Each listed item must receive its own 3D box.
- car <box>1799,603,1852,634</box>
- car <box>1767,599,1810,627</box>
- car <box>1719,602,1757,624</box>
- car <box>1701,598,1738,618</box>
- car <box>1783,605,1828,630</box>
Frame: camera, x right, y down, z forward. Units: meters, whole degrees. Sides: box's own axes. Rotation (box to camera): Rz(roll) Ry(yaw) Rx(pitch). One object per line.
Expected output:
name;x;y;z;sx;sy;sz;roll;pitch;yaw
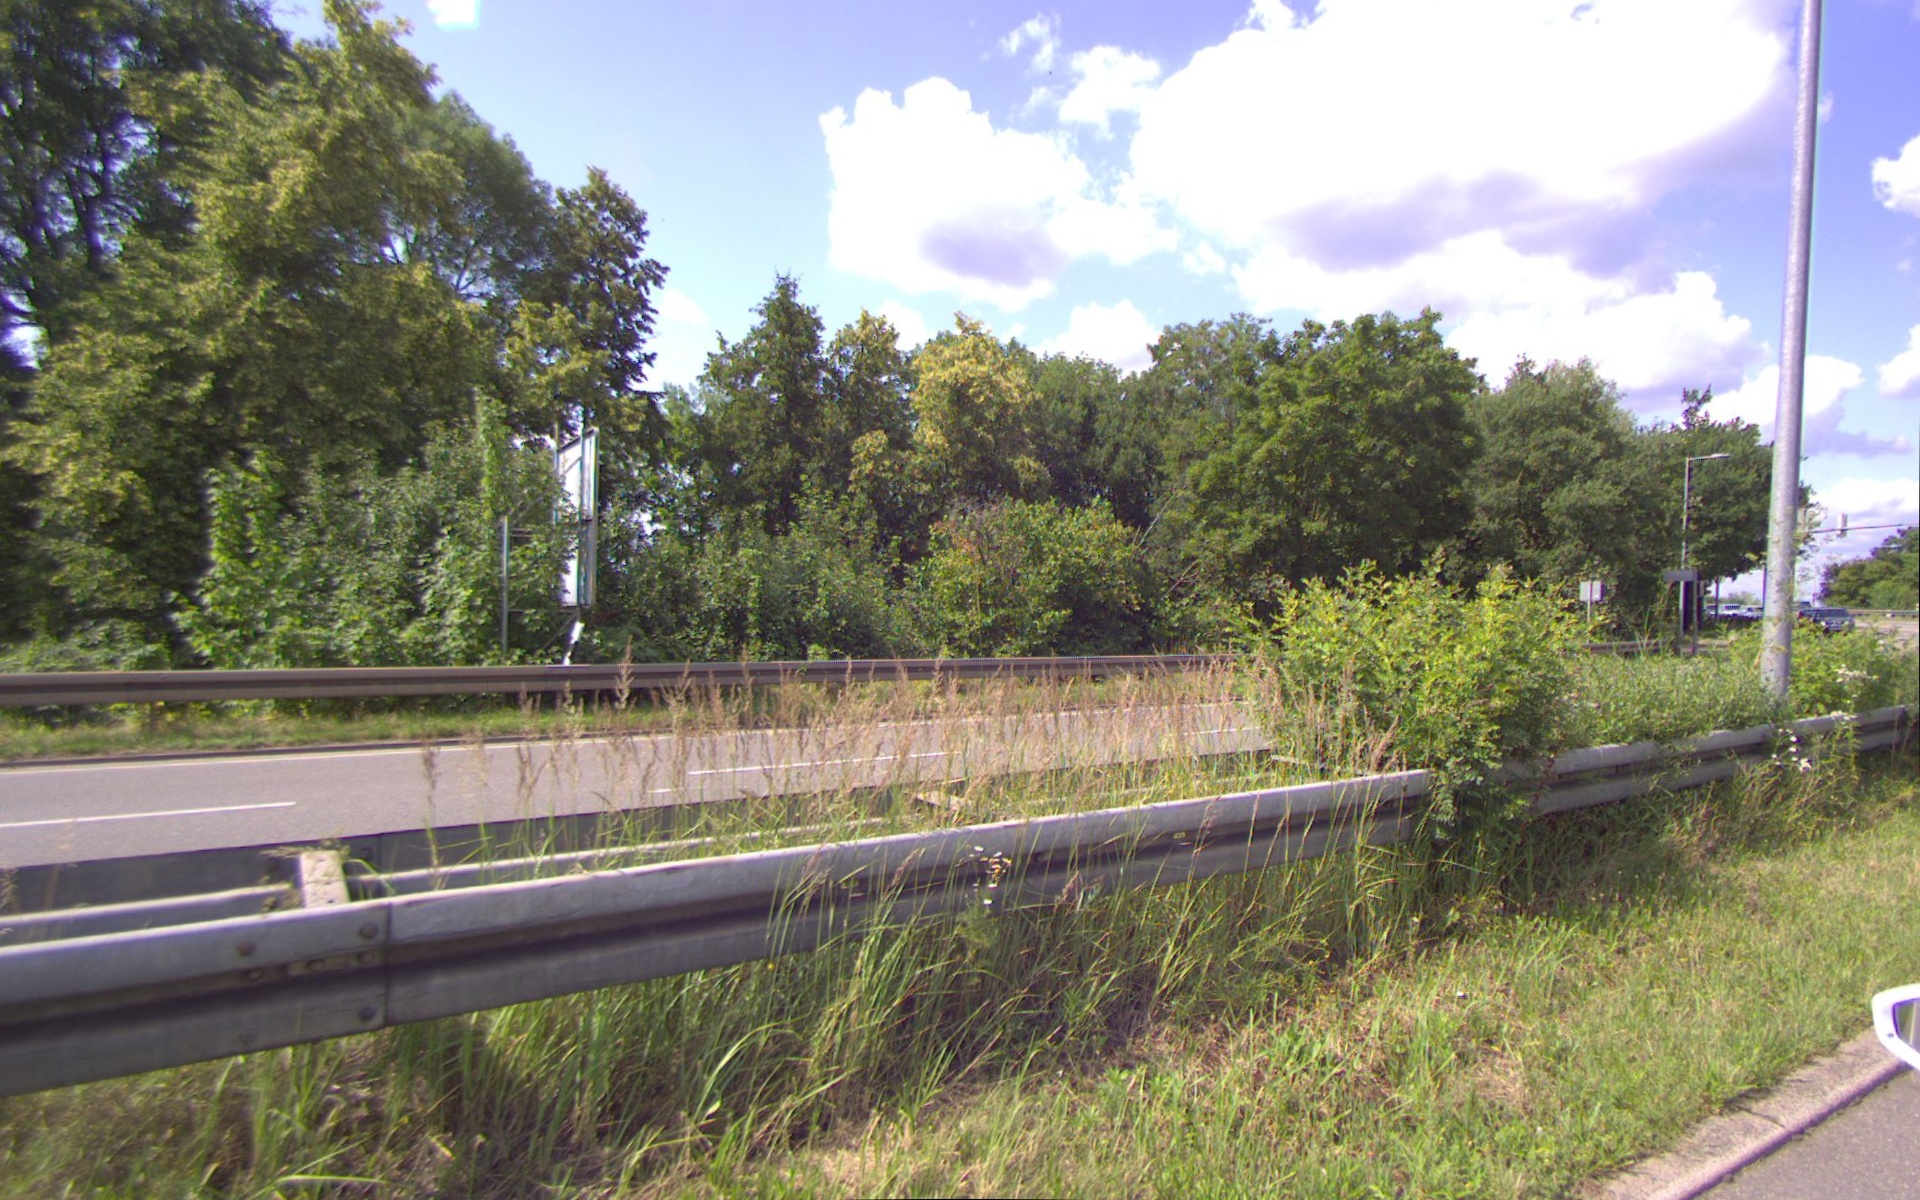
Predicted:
car;48.900;1.065;56.845;1.814;1.639;3.988;0;-2;34
car;57.085;0.869;69.262;1.818;1.826;4.314;0;0;34
car;64.447;1.046;83.219;1.816;1.728;4.319;0;0;29
car;67.961;0.686;89.929;1.815;1.728;4.322;0;0;26
car;53.421;1.072;63.508;1.708;1.496;4.035;0;0;34
